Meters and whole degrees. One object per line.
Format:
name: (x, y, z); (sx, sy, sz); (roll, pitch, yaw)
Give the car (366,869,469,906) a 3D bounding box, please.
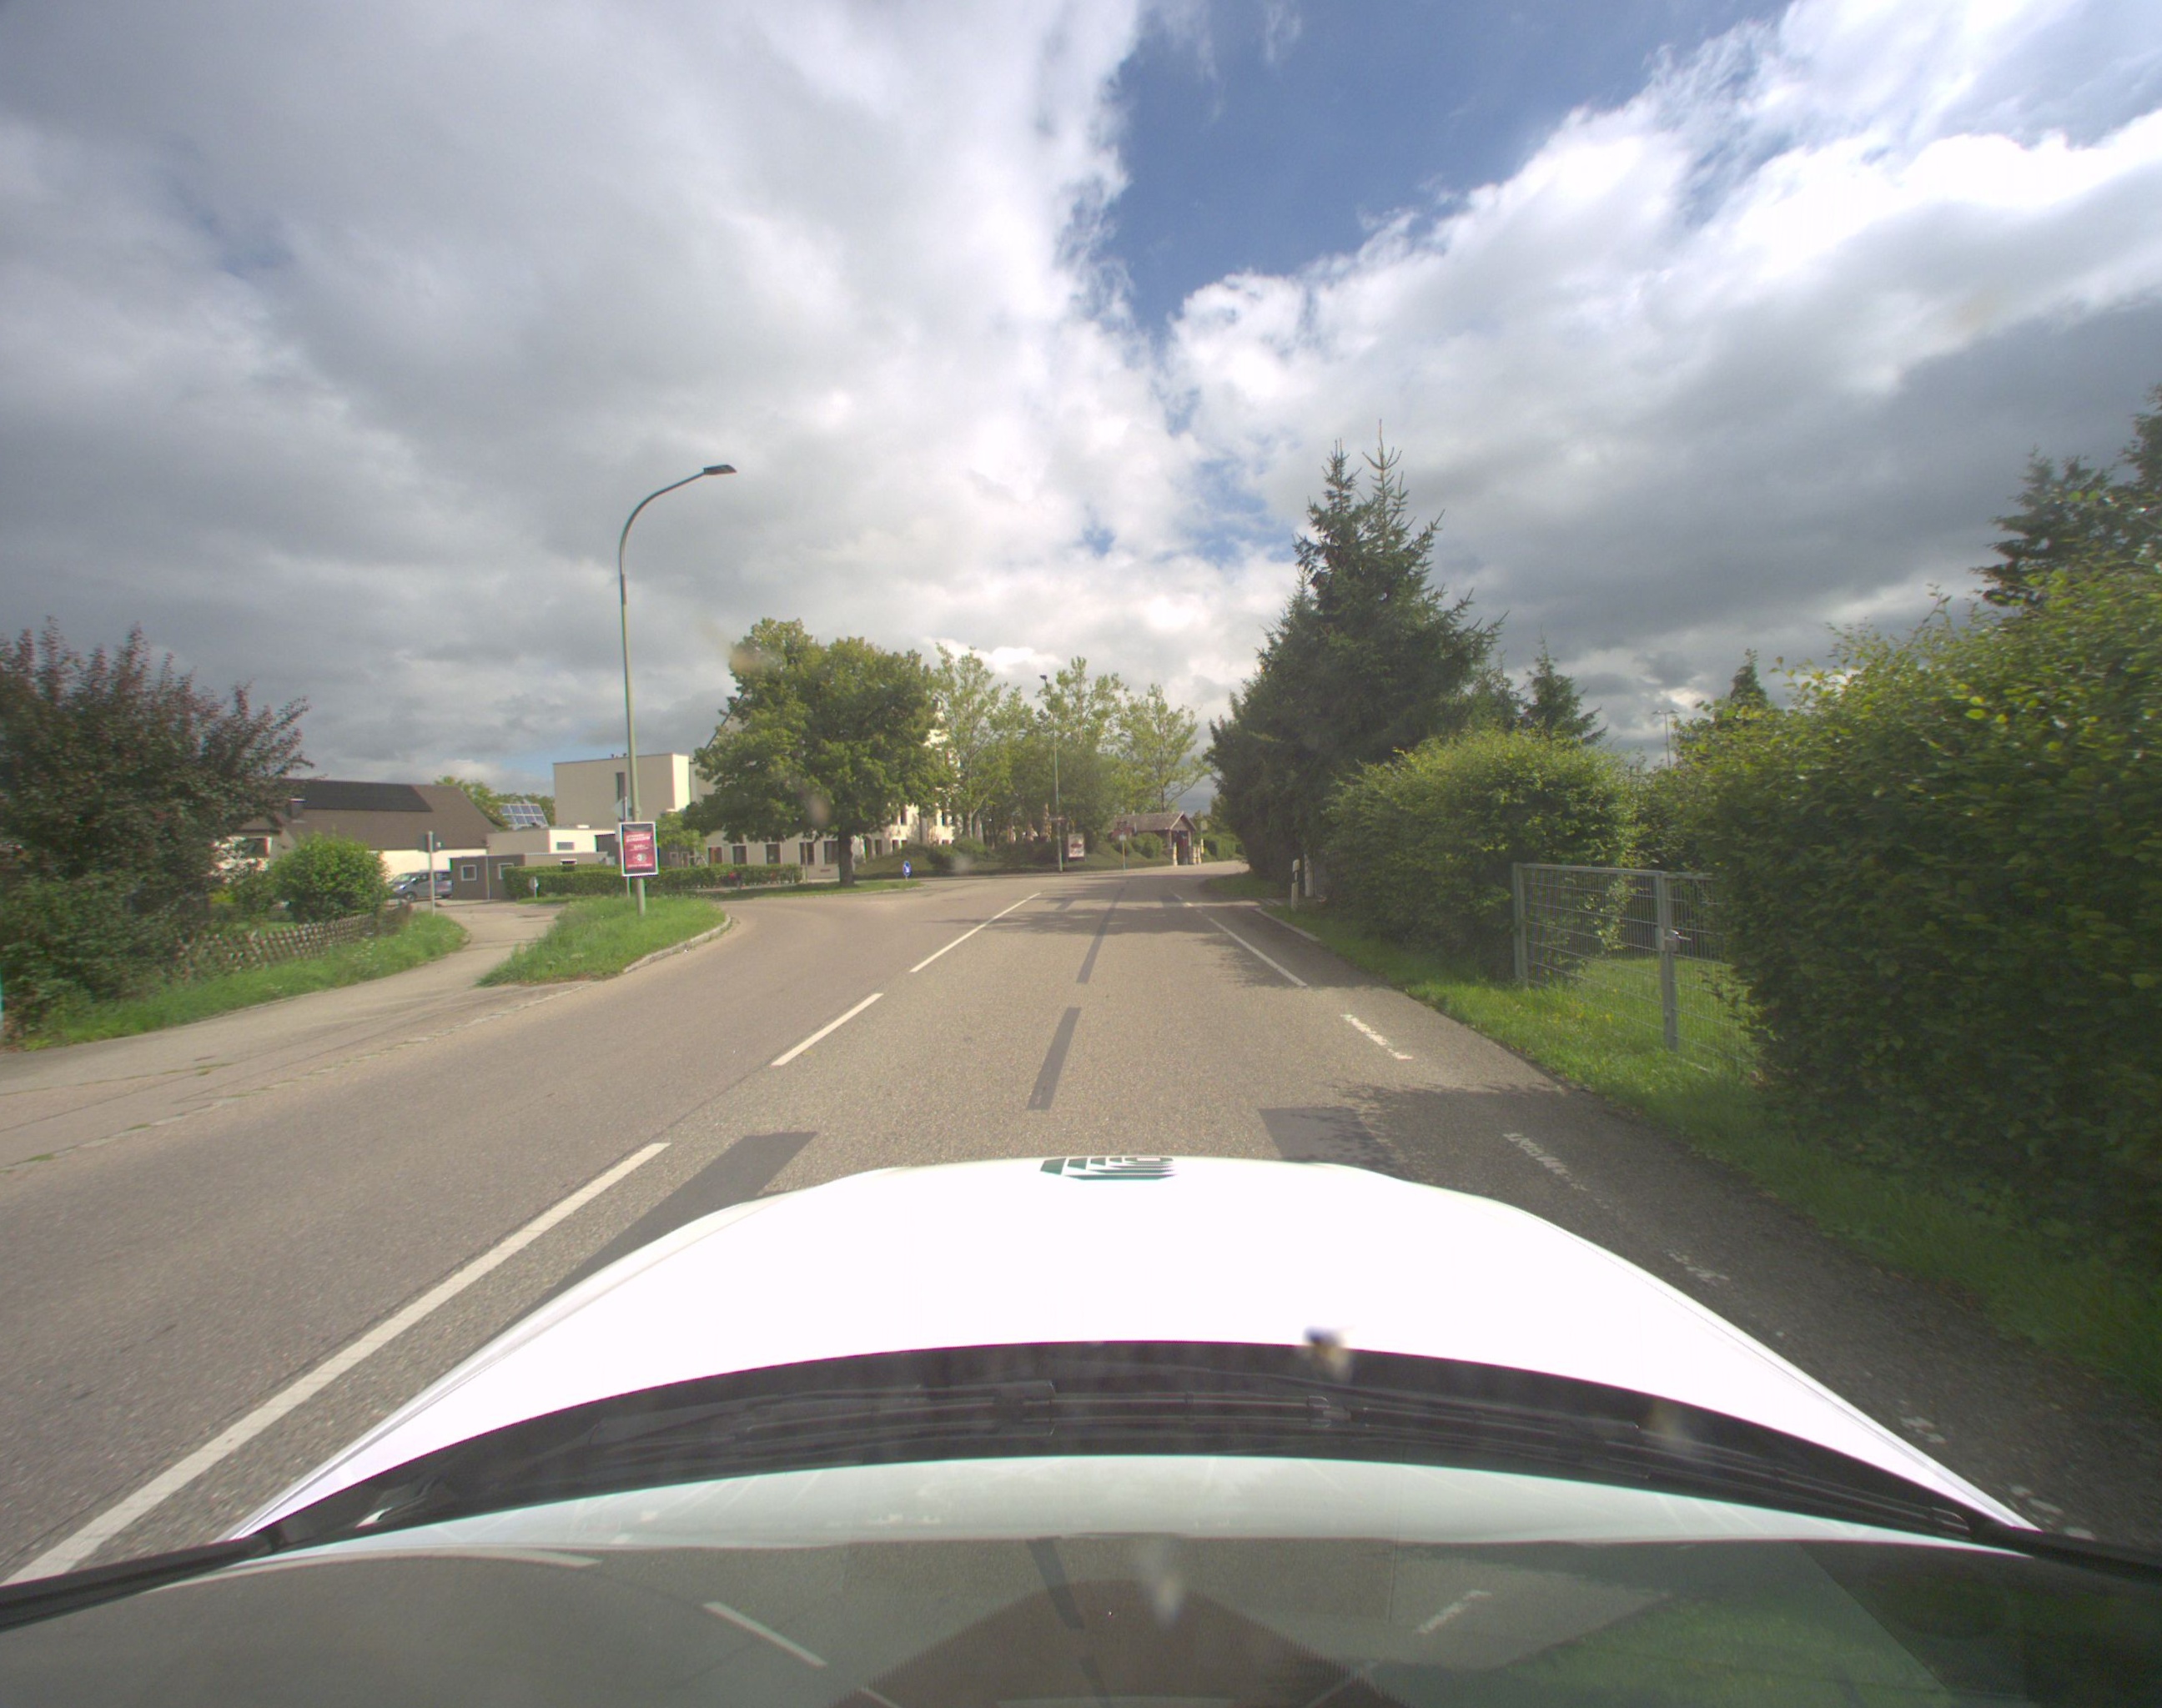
car: (-42.795, 2.130, 52.686); (1.980, 2.013, 4.918); (-3, 0, 13)
